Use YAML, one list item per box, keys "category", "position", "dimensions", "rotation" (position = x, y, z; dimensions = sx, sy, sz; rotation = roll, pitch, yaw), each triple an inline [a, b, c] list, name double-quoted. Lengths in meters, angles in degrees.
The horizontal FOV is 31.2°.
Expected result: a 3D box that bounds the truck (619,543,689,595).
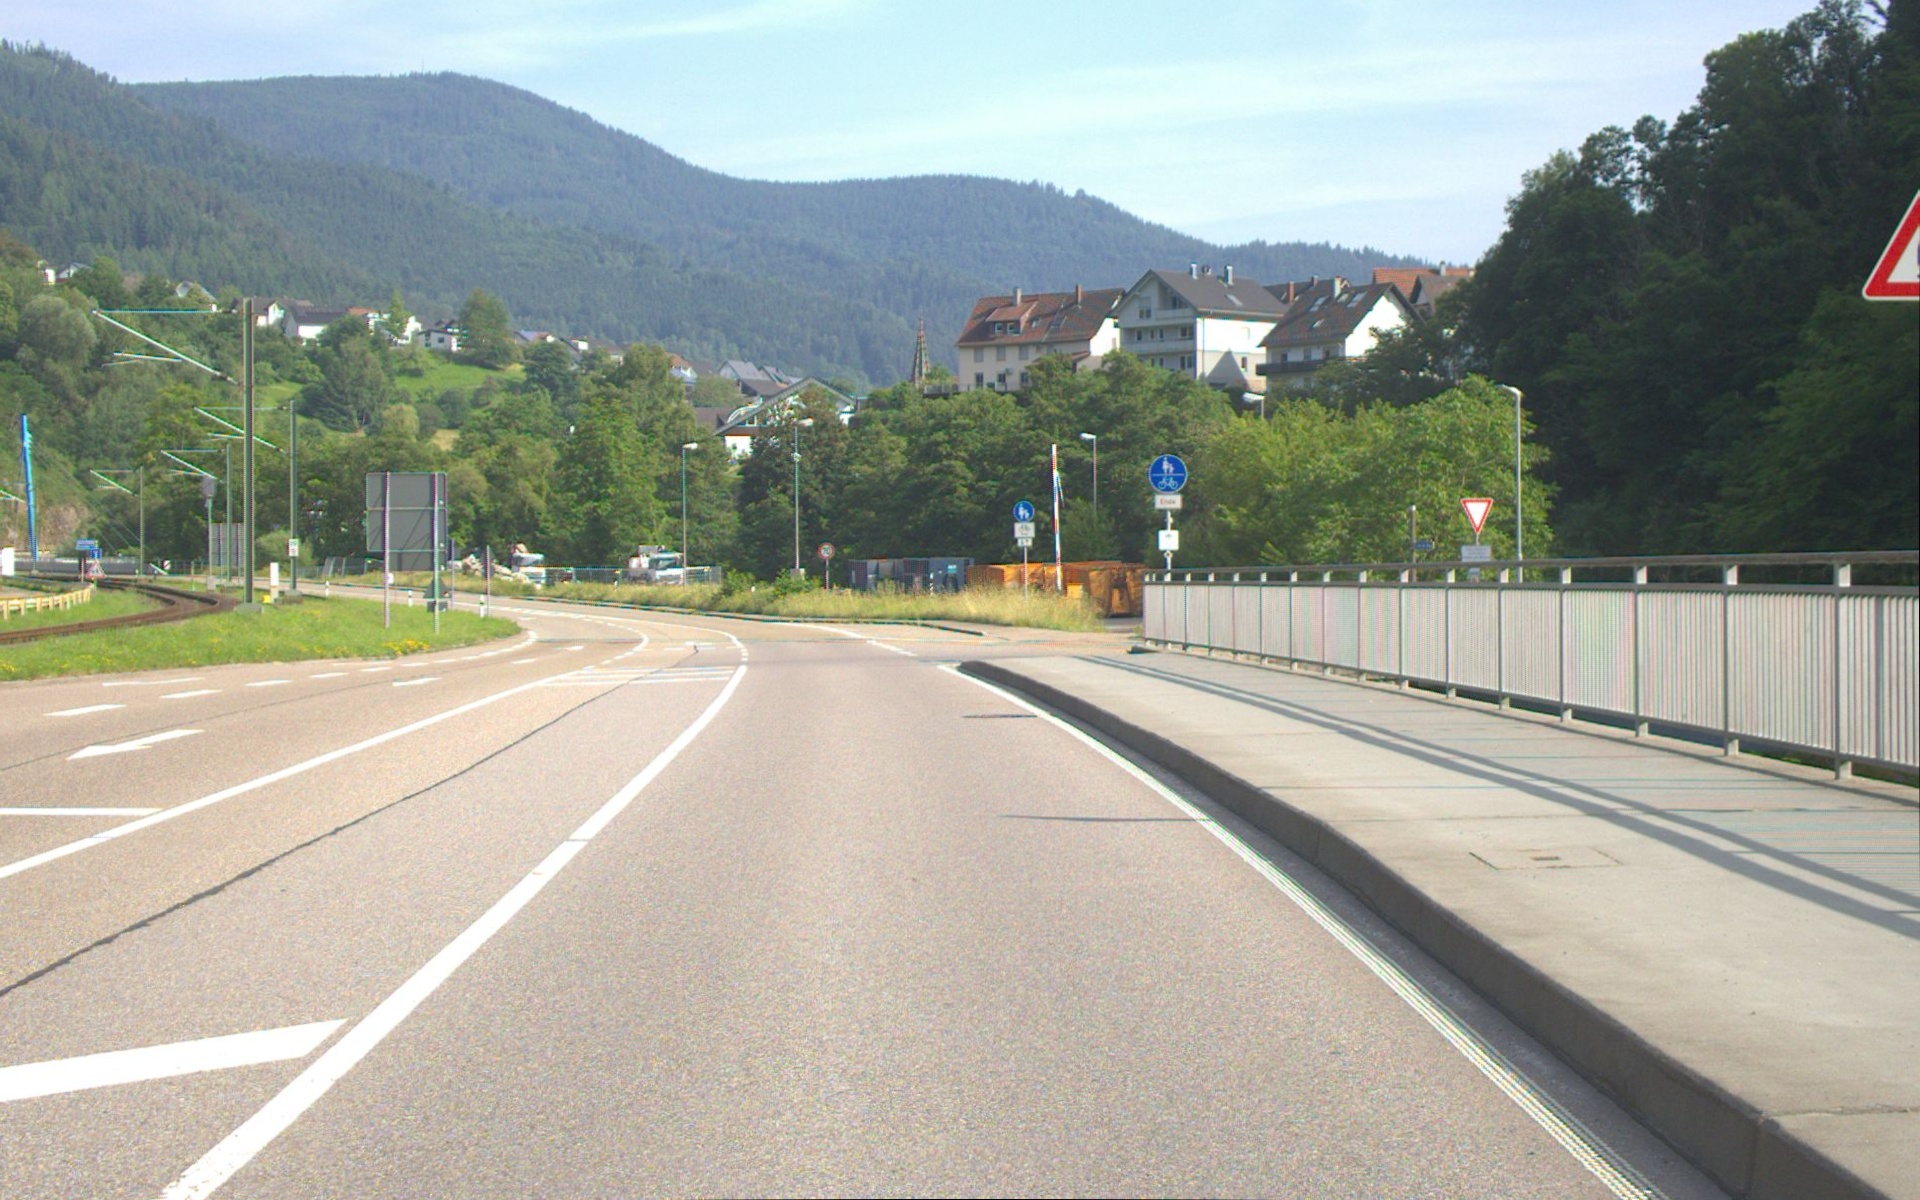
- category: "truck"
  position: [-22.729, -2.345, 254.915]
  dimensions: [3.102, 3.769, 8.647]
  rotation: [1, 1, -19]
